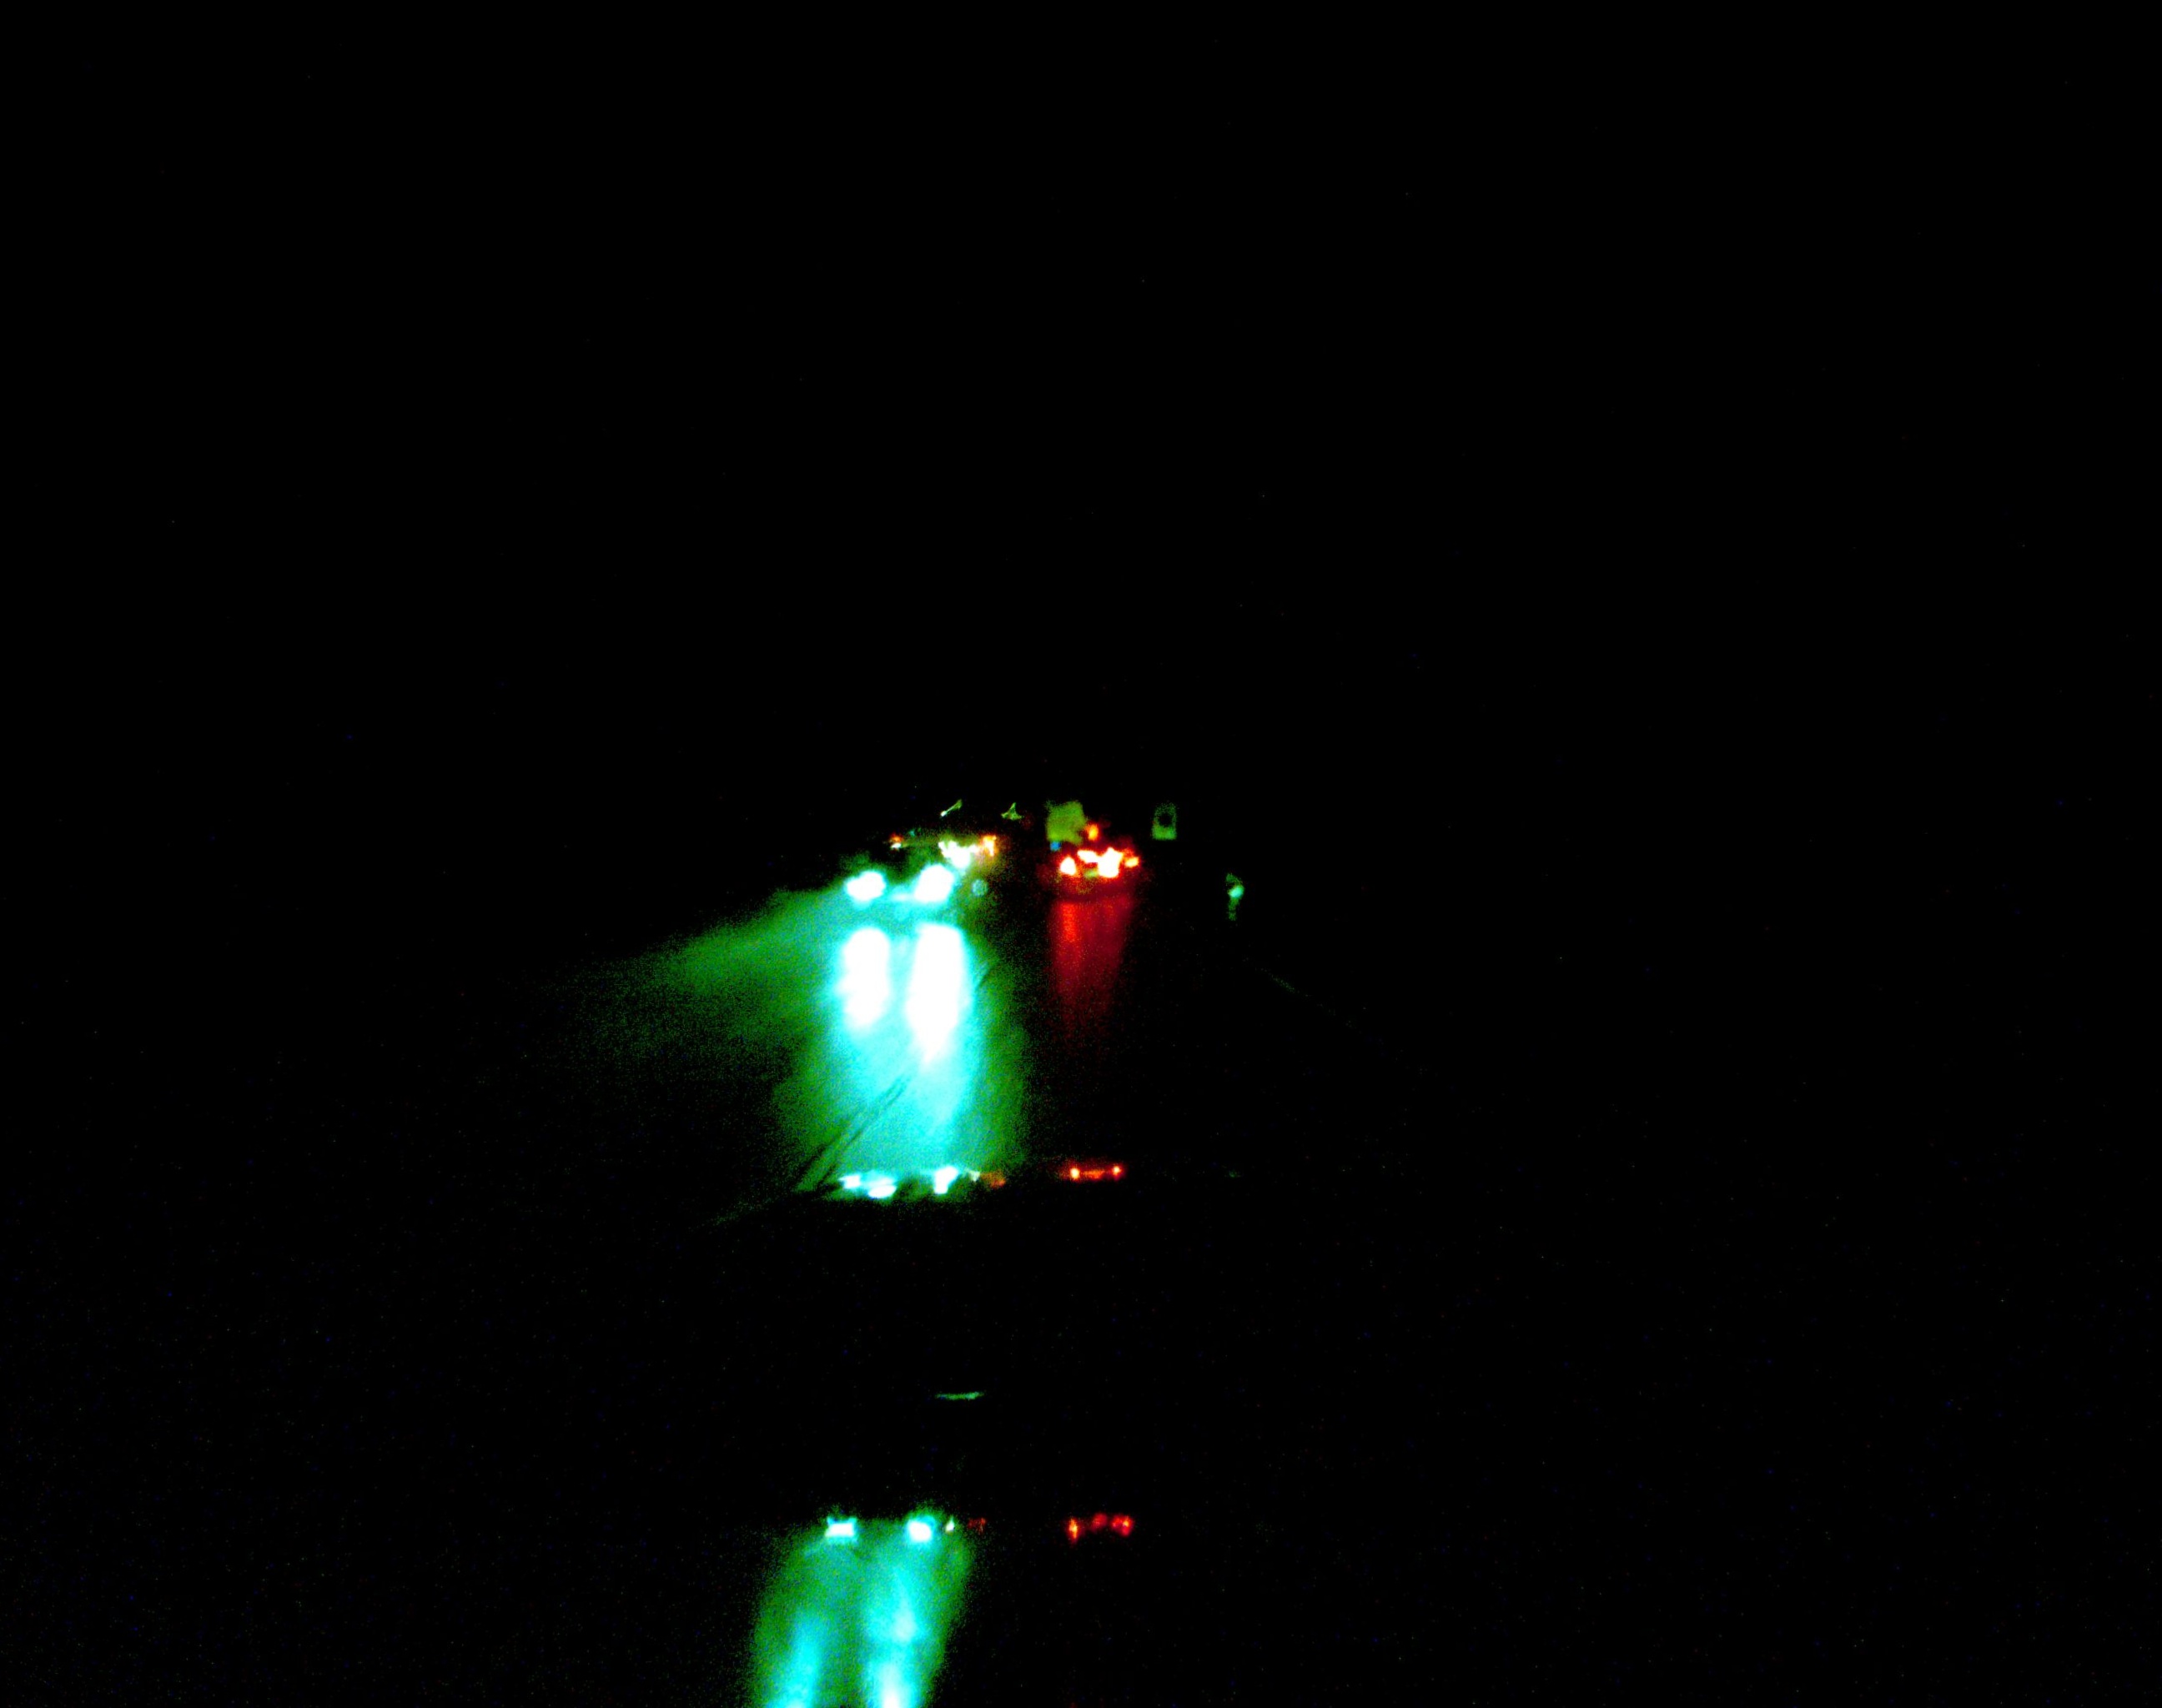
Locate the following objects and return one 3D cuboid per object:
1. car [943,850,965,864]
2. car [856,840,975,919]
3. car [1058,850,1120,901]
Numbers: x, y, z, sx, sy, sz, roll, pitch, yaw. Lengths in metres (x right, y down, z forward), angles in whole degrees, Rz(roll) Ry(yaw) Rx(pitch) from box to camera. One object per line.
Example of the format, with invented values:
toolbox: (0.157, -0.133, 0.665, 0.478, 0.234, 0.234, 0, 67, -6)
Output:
car: (-14.257, 0.331, 91.418, 1.776, 1.483, 4.354, -1, 0, -18)
car: (-4.138, 0.580, 21.270, 1.987, 1.708, 4.983, -3, 0, 0)
car: (0.224, 0.678, 29.062, 1.988, 1.628, 4.982, -1, 1, -1)
